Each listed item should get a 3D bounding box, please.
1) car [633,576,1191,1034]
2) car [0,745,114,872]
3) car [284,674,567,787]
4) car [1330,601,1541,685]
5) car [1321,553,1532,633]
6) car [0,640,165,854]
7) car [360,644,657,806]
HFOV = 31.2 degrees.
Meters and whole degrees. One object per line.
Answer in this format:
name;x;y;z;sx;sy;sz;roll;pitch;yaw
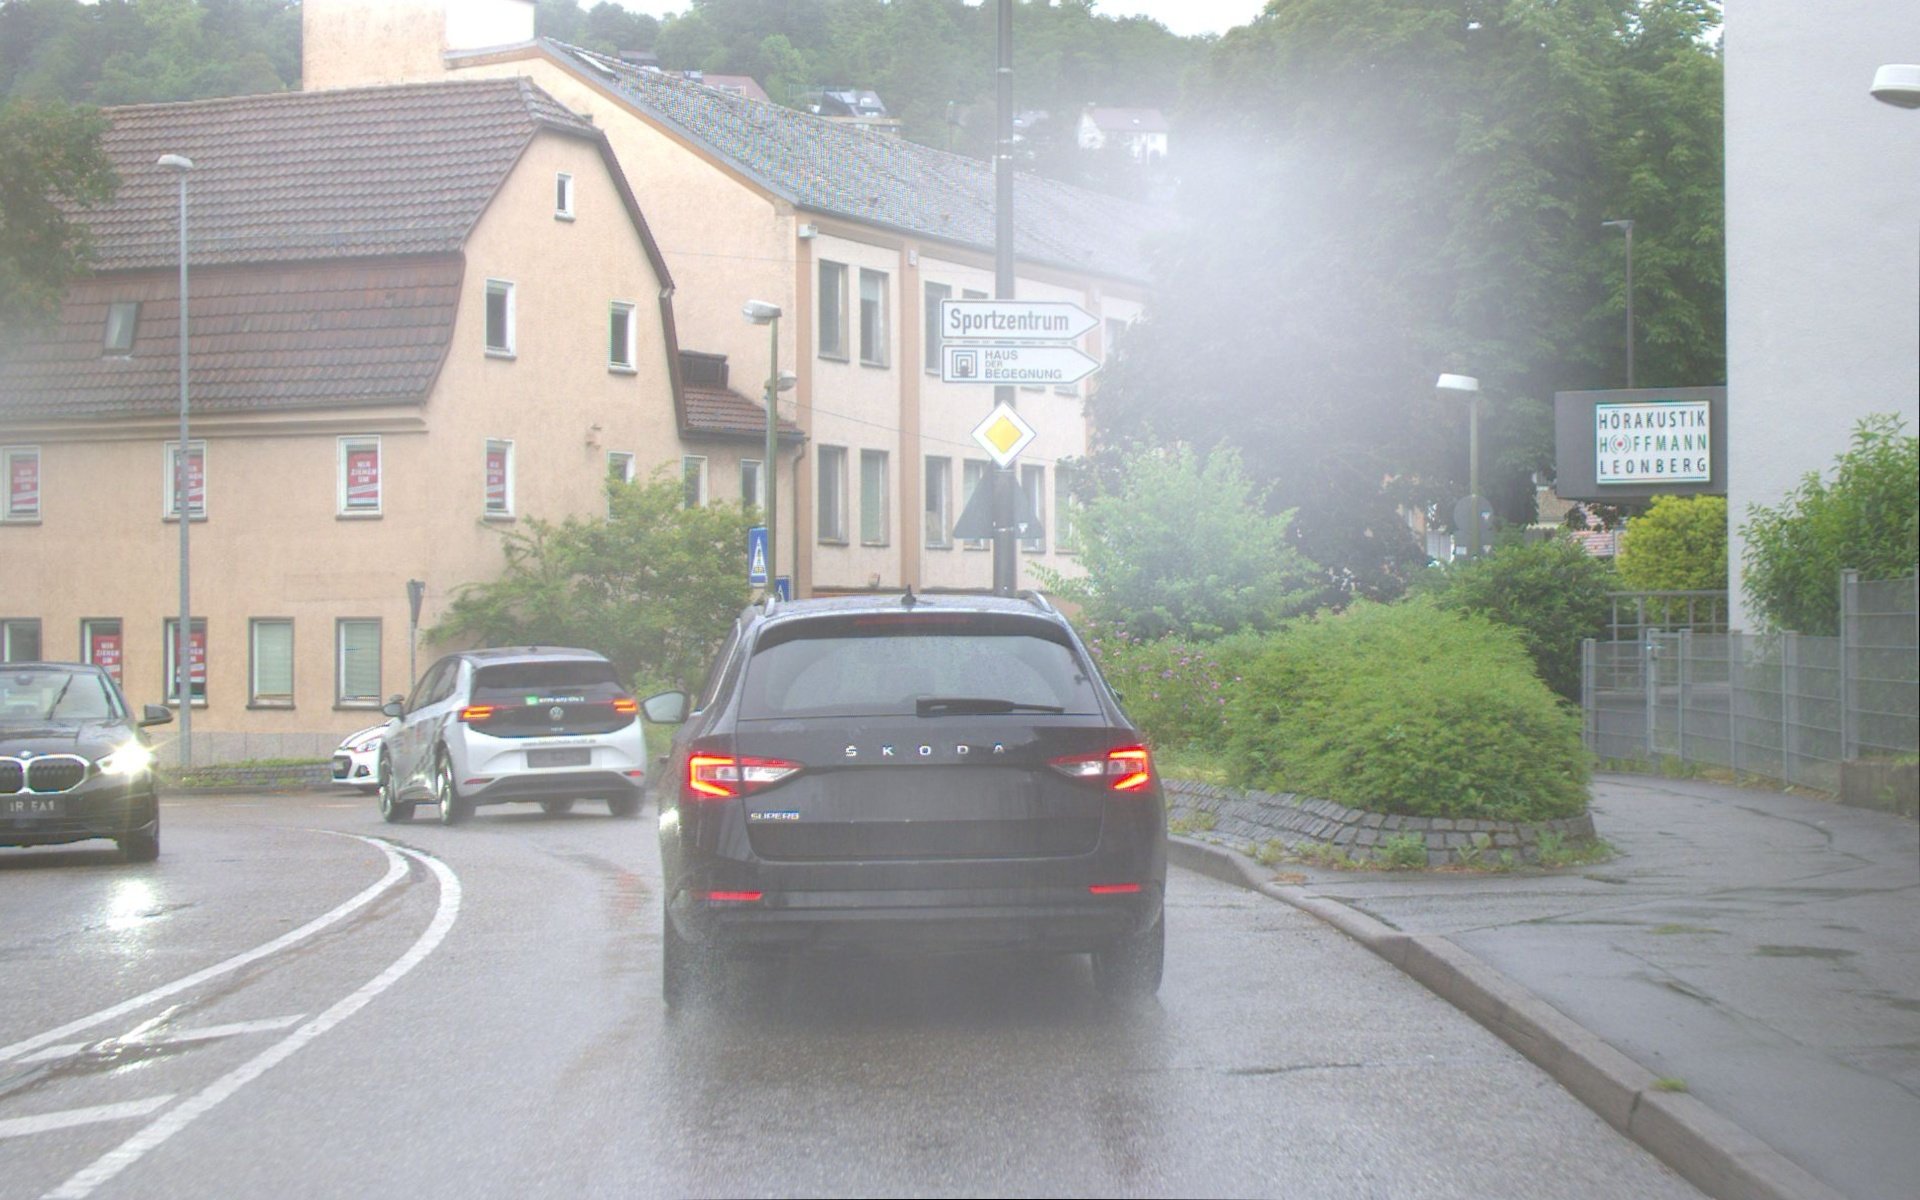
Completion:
car;-0.353;0.672;13.435;1.781;1.478;4.246;-1;0;-6
car;-12.959;2.771;46.271;1.728;1.585;4.183;3;-3;-33
car;-7.927;1.917;51.052;3.751;1.448;1.712;-2;-1;-27
car;9.702;0.881;70.194;3.896;1.568;1.717;-2;-1;25
car;10.136;-0.149;74.663;4.406;1.568;1.718;-2;-1;11
car;-6.738;1.093;24.680;1.735;1.406;4.054;0;-3;-17
car;-4.174;1.088;31.269;1.817;1.355;3.990;0;-1;-21
